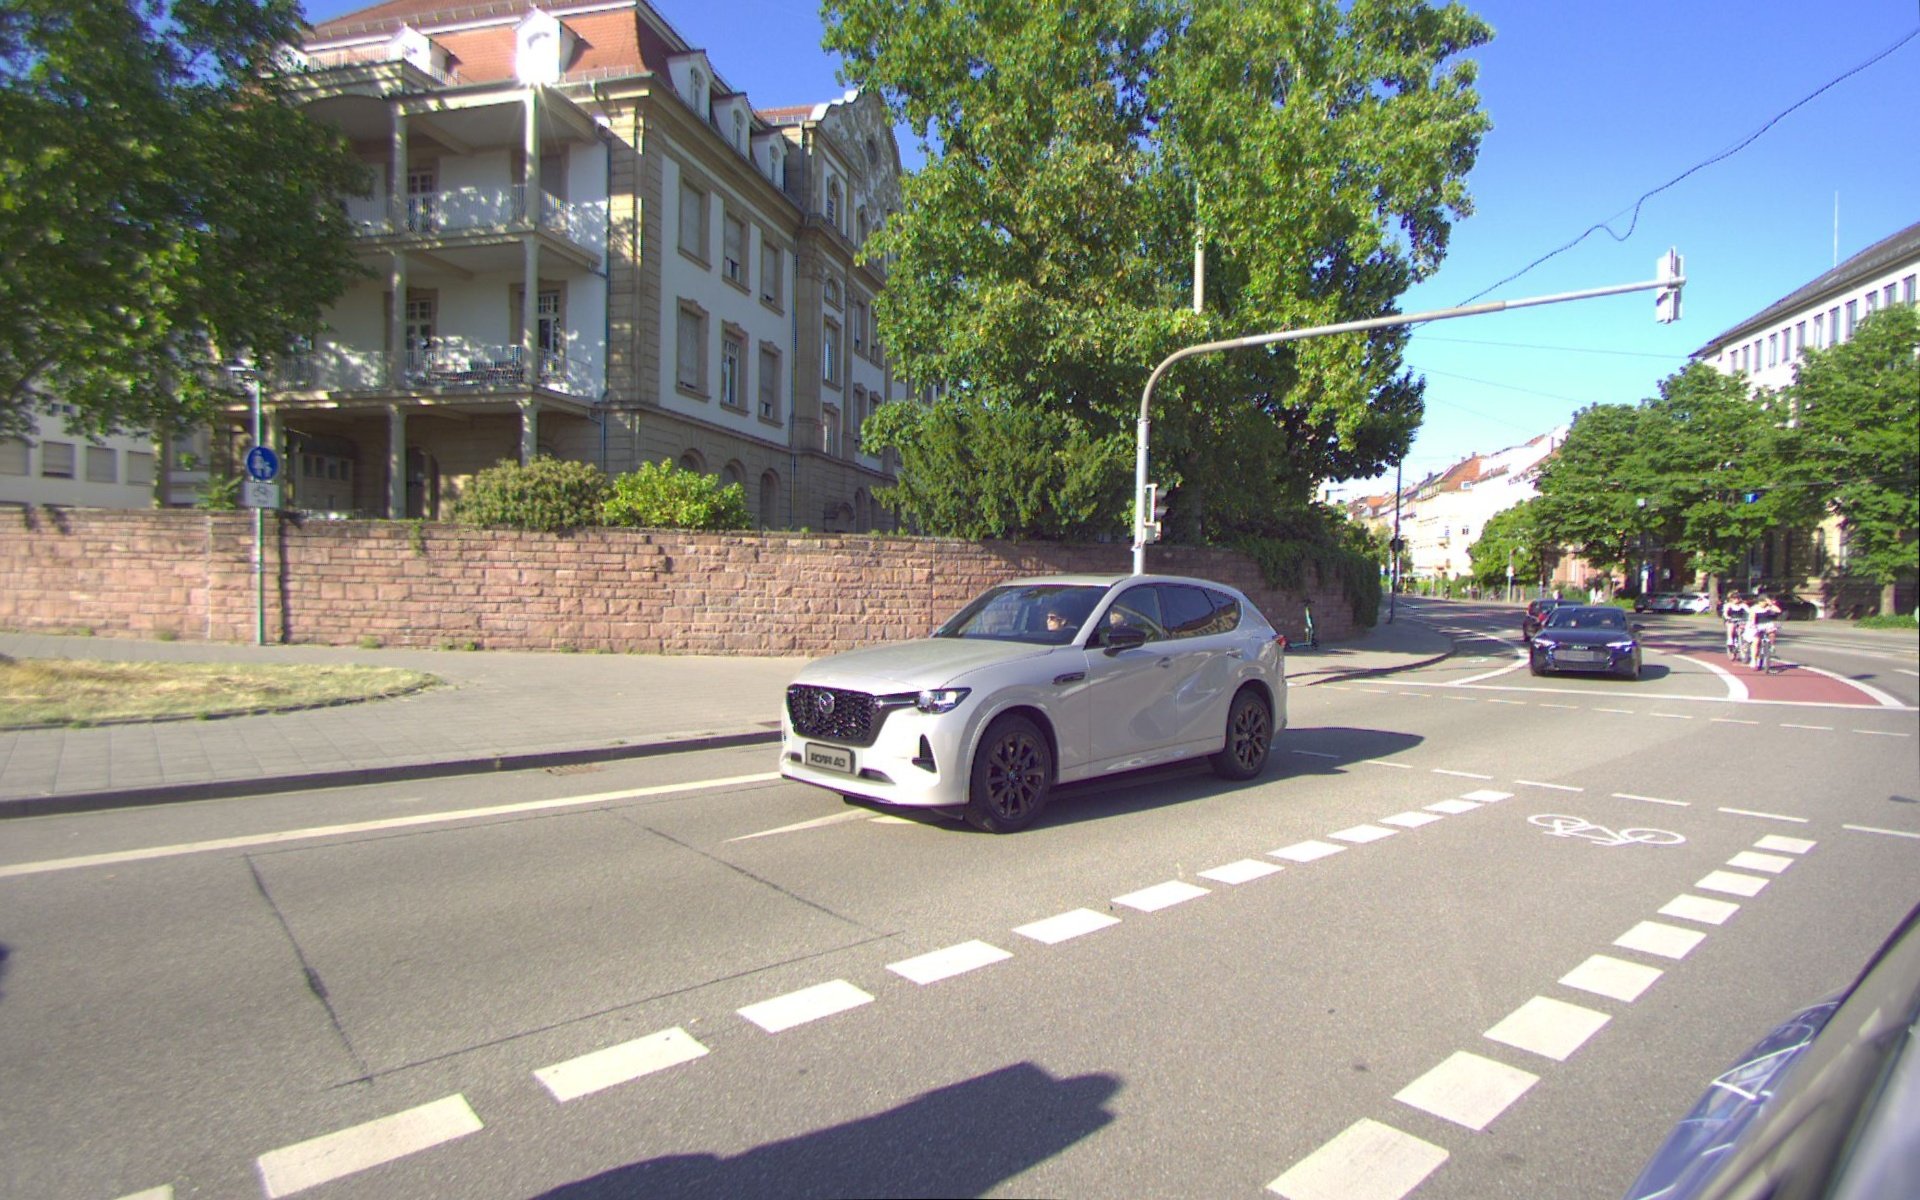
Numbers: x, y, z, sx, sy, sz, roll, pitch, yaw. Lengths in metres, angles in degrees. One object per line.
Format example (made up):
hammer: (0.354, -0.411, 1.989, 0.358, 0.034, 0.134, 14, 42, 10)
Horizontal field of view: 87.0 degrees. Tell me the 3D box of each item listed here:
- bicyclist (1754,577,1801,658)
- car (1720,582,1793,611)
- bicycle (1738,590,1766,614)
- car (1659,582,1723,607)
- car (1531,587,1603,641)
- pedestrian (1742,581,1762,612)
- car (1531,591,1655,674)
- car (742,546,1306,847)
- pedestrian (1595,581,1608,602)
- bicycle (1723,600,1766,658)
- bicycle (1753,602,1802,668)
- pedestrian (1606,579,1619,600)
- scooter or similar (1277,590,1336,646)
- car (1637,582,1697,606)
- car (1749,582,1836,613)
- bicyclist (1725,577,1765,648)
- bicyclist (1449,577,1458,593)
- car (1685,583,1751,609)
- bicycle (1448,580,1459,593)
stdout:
bicyclist: (17.373, 0.355, 21.525, 0.672, 1.667, 1.016, 2, 1, 37)
car: (46.978, -0.217, 59.711, 3.573, 1.580, 1.654, -1, 1, -18)
bicycle: (43.444, 0.080, 55.521, 0.669, 1.266, 2.436, 1, 1, 25)
car: (48.793, -0.355, 67.567, 3.573, 1.580, 1.654, -1, 1, -18)
car: (19.281, 0.405, 32.270, 1.633, 1.580, 3.617, 0, 1, 26)
pedestrian: (43.452, -0.219, 55.516, 0.668, 1.668, 0.811, 1, 1, 25)
car: (12.819, 0.571, 20.390, 1.779, 1.451, 3.947, 0, 1, 37)
car: (0.736, 0.495, 7.996, 4.456, 1.713, 1.942, -2, 1, -43)
pedestrian: (51.715, -0.695, 81.587, 0.666, 1.668, 0.814, 1, 1, 16)
bicycle: (18.854, 0.660, 24.353, 0.672, 1.266, 2.426, 2, 2, 35)
bicycle: (17.368, 0.710, 21.538, 0.672, 1.266, 2.425, 2, 2, 36)
pedestrian: (52.533, -0.823, 81.508, 0.666, 1.668, 0.814, 1, 1, 16)
scooter or similar: (8.286, 0.409, 24.170, 1.396, 1.285, 0.576, 0, 1, -34)
car: (49.548, -0.445, 70.951, 3.573, 1.580, 1.654, -1, 1, -18)
car: (46.781, -0.138, 56.887, 4.093, 1.651, 1.850, -1, 1, -18)
bicyclist: (18.819, 0.282, 24.281, 0.671, 1.667, 1.016, 2, 1, 35)
bicyclist: (52.721, -1.636, 108.083, 0.666, 1.667, 1.024, 1, 1, 16)
car: (48.781, -0.299, 65.127, 3.573, 1.580, 1.654, -1, 1, -18)
bicycle: (52.723, -1.441, 108.127, 0.667, 1.266, 2.445, 1, 2, 16)
